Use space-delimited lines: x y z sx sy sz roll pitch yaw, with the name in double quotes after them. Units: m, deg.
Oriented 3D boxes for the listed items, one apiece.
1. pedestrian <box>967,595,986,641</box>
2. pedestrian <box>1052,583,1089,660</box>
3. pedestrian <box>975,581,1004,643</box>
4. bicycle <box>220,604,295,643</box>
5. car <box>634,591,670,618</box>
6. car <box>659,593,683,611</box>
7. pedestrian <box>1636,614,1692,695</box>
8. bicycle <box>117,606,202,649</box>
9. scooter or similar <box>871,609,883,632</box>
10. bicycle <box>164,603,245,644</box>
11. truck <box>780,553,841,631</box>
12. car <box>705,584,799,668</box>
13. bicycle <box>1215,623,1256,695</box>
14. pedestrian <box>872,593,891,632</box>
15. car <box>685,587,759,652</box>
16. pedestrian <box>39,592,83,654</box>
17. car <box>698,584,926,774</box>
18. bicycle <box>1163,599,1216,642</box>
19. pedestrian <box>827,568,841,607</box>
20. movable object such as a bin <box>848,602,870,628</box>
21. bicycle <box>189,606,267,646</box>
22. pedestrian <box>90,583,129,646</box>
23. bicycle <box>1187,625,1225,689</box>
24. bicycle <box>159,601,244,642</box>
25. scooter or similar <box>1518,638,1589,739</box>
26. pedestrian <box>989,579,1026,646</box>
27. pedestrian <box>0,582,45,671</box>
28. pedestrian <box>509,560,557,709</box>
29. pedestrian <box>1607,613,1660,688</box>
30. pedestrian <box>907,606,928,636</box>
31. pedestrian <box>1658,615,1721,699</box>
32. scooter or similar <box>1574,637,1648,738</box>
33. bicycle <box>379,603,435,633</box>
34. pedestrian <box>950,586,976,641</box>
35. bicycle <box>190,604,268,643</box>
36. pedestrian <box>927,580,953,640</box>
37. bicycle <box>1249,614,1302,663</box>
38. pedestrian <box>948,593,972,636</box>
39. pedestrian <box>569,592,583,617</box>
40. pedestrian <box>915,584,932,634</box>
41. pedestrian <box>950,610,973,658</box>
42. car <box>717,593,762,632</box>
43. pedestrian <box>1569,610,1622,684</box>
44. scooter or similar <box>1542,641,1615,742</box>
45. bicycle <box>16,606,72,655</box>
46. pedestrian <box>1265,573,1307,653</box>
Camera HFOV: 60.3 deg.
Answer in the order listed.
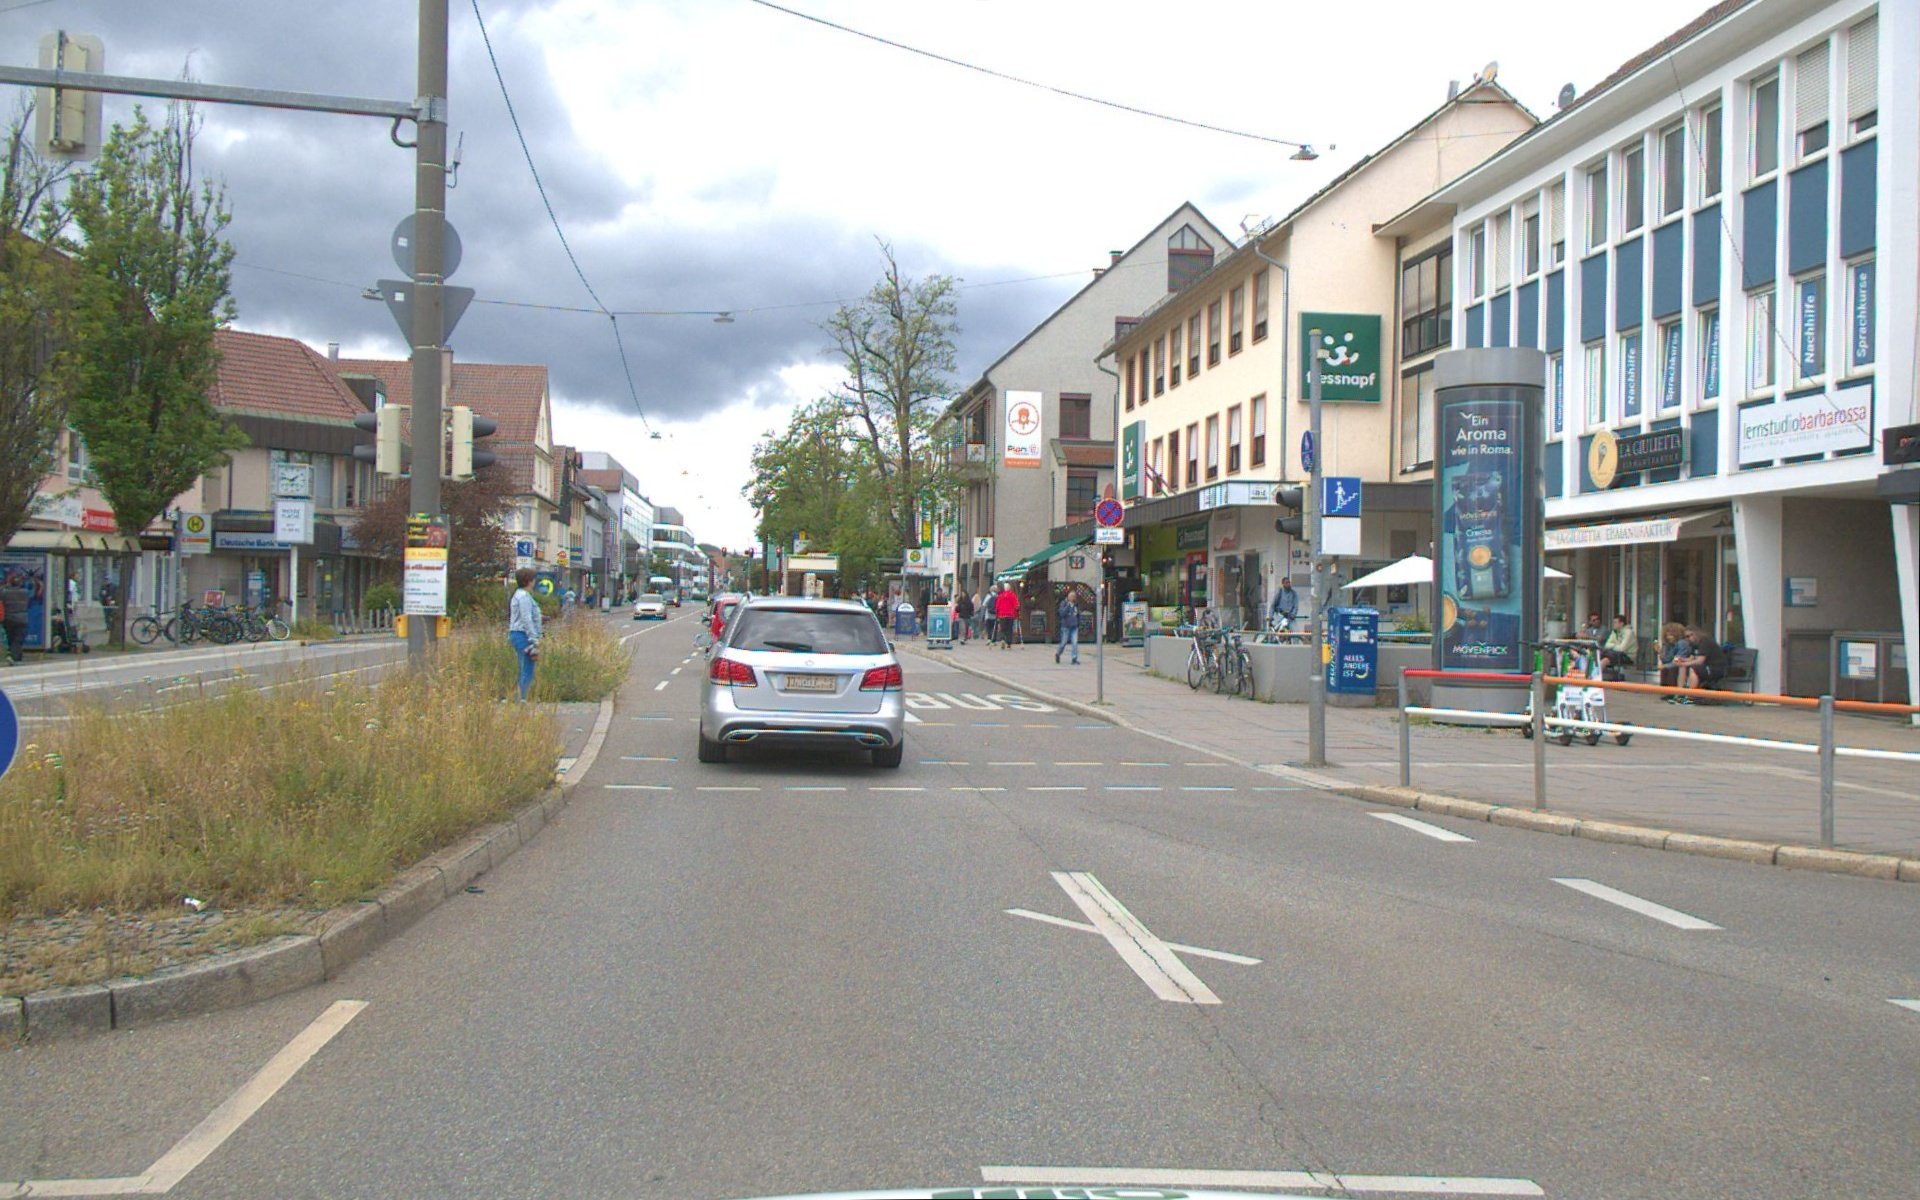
0.600 0.648 60.493 0.575 1.663 0.614 1 0 -6 "pedestrian"
2.438 0.469 36.456 0.674 1.663 0.852 1 0 -5 "pedestrian"
0.860 0.360 48.445 0.670 1.772 0.779 -1 -1 -13 "pedestrian"
-20.948 0.700 49.357 1.986 1.109 0.646 1 0 -18 "bicycle"
-17.982 0.267 96.682 1.839 1.532 4.336 0 0 -7 "car"
-30.377 0.196 173.756 2.028 1.769 4.688 -1 0 -5 "car"
11.137 0.850 26.170 0.602 1.241 0.586 0 0 -10 "pedestrian"
-21.506 0.734 44.465 1.989 1.109 0.645 2 0 -22 "bicycle"
-3.602 0.882 72.071 0.349 0.976 0.383 0 0 41 "scooter or similar"
-21.220 0.655 46.504 1.986 1.109 0.646 1 0 -18 "bicycle"
-7.609 -0.389 83.322 2.638 3.623 9.750 1 0 -7 "truck"
-4.105 0.499 32.708 1.721 1.547 3.993 1 0 -7 "car"
4.301 0.909 25.889 0.268 1.071 1.385 1 0 -6 "bicycle"
-3.454 0.530 72.536 0.529 1.663 0.582 4 0 -32 "pedestrian"
-6.698 0.526 46.898 1.956 1.713 3.994 1 0 -7 "car"
-20.817 0.523 38.300 0.698 1.388 0.587 2 0 -6 "pedestrian"
-1.516 0.659 15.591 1.840 1.532 3.991 2 0 -9 "car"
6.000 0.534 43.312 0.727 1.081 2.346 0 0 -9 "bicycle"
-5.939 -0.568 77.873 0.602 1.811 0.586 0 -1 -11 "pedestrian"
-5.489 0.800 89.941 1.121 1.363 1.374 1 0 -6 "movable object such as a bin"
-21.114 0.750 47.736 1.986 1.109 0.646 1 0 -18 "bicycle"
-25.090 0.424 48.812 0.712 1.794 0.754 4 0 -10 "pedestrian"
4.063 0.928 27.361 0.268 0.991 1.385 1 0 -6 "bicycle"
-20.849 0.591 45.493 1.982 1.109 0.647 1 0 -13 "bicycle"
7.197 1.059 20.098 0.308 1.152 1.206 1 0 -6 "scooter or similar"
1.267 0.337 44.463 0.781 1.772 0.779 -1 -1 -13 "pedestrian"
-18.175 0.509 31.912 0.574 1.681 0.714 2 0 2 "pedestrian"
-4.860 0.387 18.832 0.494 1.663 0.661 1 0 -14 "pedestrian"
11.573 0.860 28.410 0.602 1.241 0.586 1 0 -10 "pedestrian"
-1.723 0.855 66.575 0.699 1.186 0.586 2 0 -14 "pedestrian"
11.267 0.874 25.554 0.602 1.241 0.586 4 0 -10 "pedestrian"
7.929 1.051 20.186 0.308 1.152 1.206 1 0 -6 "scooter or similar"
-21.036 0.685 62.917 1.986 1.109 0.646 1 0 -18 "bicycle"
0.099 0.403 50.269 0.705 1.663 0.613 0 -1 -10 "pedestrian"
-21.378 0.681 48.400 1.986 1.109 0.646 1 0 -18 "bicycle"
-0.595 0.298 48.332 0.600 1.707 0.614 4 0 -5 "pedestrian"
6.711 0.804 35.242 0.270 0.991 1.373 1 0 -30 "bicycle"
0.017 0.567 64.290 0.606 1.663 0.786 1 1 -29 "pedestrian"
-25.902 0.293 111.577 0.802 1.663 0.977 3 0 -13 "pedestrian"
-1.541 0.387 69.199 0.600 2.083 0.588 -1 -1 6 "pedestrian"
0.046 1.176 56.841 0.658 1.594 0.492 2 1 12 "pedestrian"
-10.076 0.563 75.832 1.956 1.713 3.994 1 0 -7 "car"
11.164 0.826 29.062 0.602 1.241 0.586 4 0 -10 "pedestrian"
7.530 1.102 20.174 0.308 1.152 1.206 1 0 -6 "scooter or similar"
-21.772 0.706 39.346 0.524 1.109 1.926 2 0 -9 "bicycle"
6.953 0.274 35.288 0.653 1.663 0.799 1 0 -7 "pedestrian"
